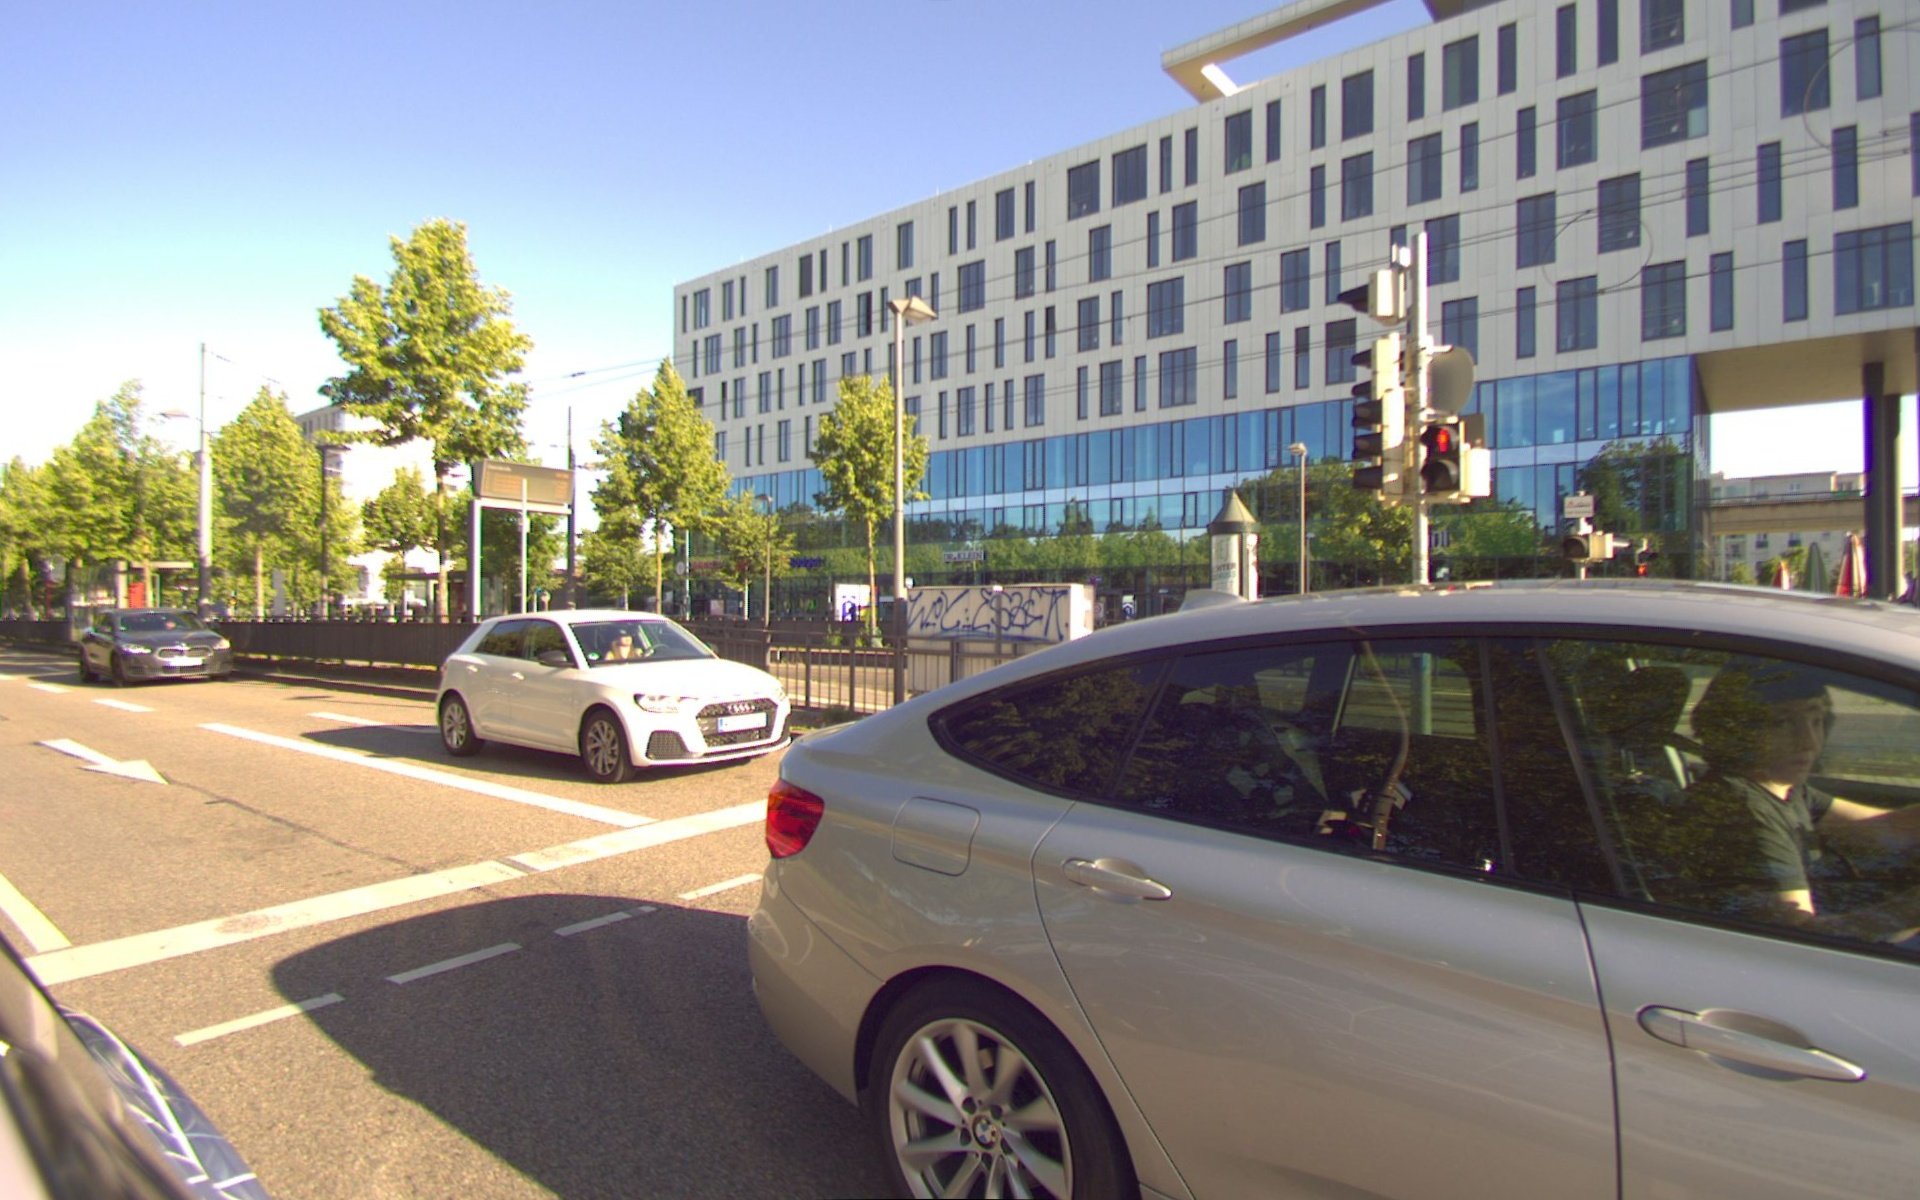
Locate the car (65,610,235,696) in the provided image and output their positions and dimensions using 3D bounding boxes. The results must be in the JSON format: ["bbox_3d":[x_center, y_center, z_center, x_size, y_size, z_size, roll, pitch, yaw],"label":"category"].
[{"bbox_3d":[-16.546,1.002,20.596,4.338,1.538,1.781,-1,0,39],"label":"car"}]

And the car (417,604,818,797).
[{"bbox_3d":[-3.360,0.795,9.591,4.000,1.437,1.656,-1,0,38],"label":"car"}]

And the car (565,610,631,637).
[{"bbox_3d":[-22.026,1.432,61.522,4.338,1.538,1.781,-1,0,39],"label":"car"}]

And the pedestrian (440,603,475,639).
[{"bbox_3d":[-20.912,0.878,42.115,0.844,1.477,1.054,-1,-1,44],"label":"pedestrian"}]

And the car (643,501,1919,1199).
[{"bbox_3d":[1.607,0.638,1.957,4.904,1.538,1.781,-1,0,38],"label":"car"}]
